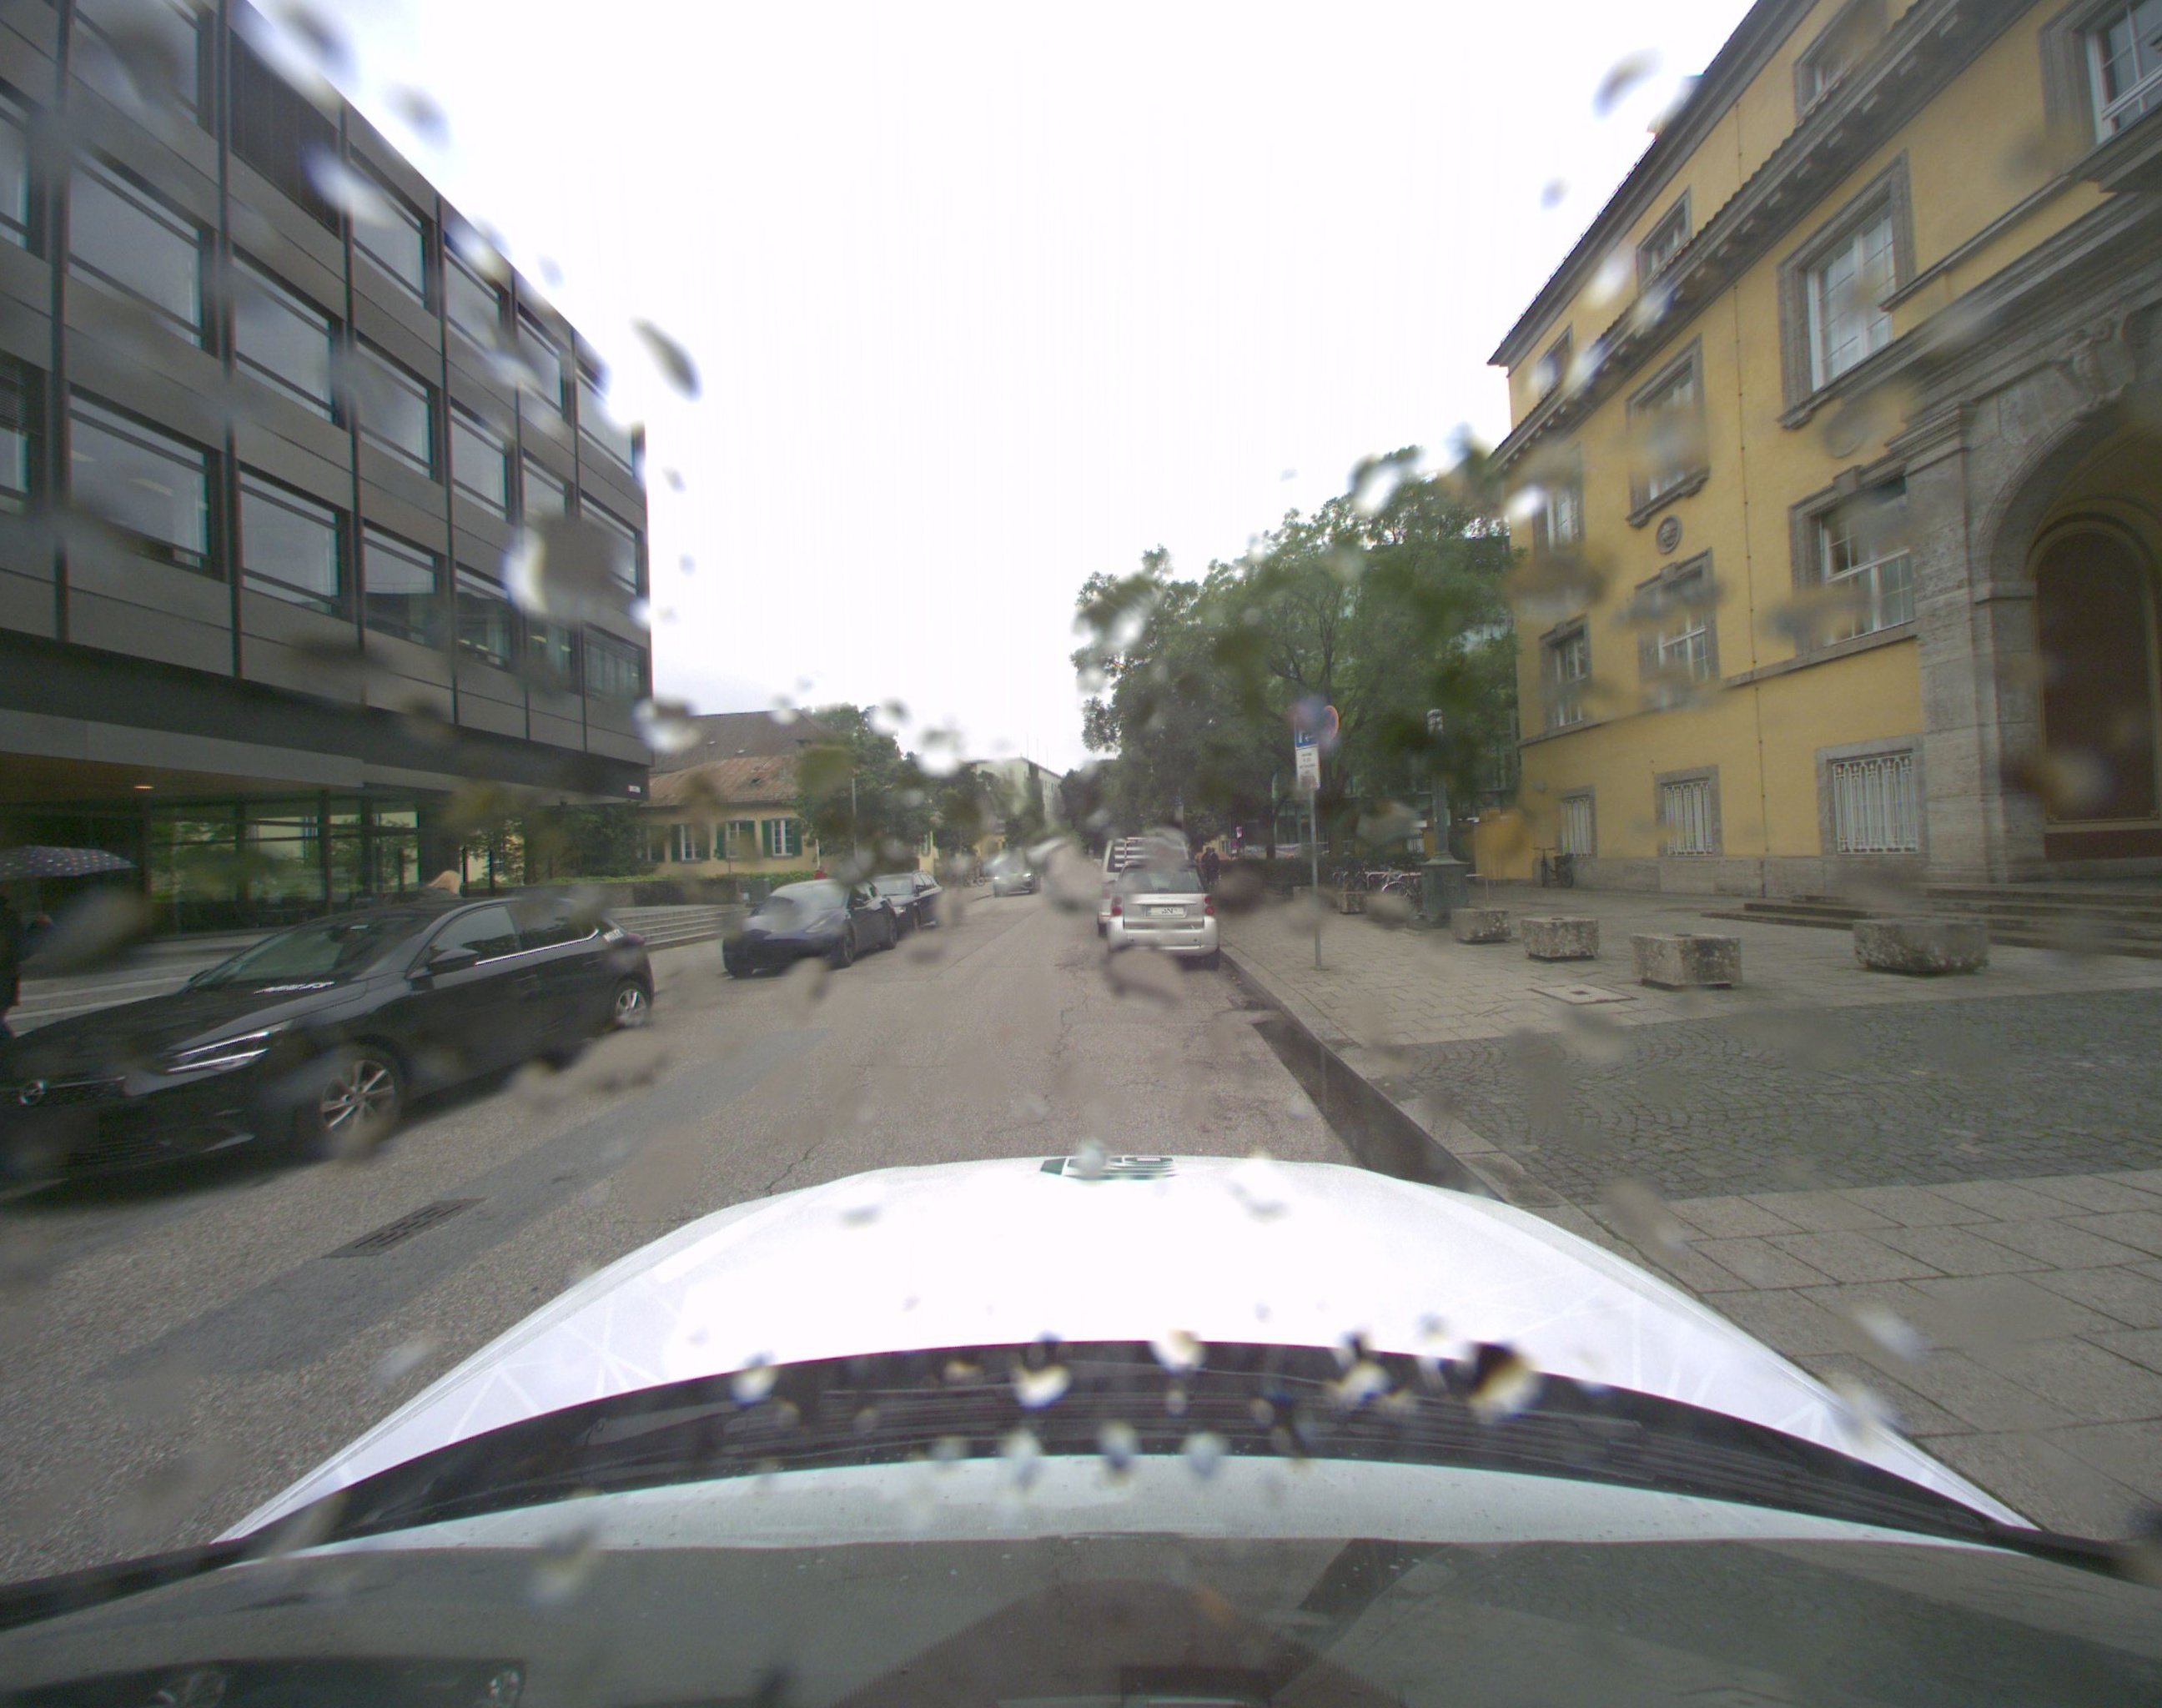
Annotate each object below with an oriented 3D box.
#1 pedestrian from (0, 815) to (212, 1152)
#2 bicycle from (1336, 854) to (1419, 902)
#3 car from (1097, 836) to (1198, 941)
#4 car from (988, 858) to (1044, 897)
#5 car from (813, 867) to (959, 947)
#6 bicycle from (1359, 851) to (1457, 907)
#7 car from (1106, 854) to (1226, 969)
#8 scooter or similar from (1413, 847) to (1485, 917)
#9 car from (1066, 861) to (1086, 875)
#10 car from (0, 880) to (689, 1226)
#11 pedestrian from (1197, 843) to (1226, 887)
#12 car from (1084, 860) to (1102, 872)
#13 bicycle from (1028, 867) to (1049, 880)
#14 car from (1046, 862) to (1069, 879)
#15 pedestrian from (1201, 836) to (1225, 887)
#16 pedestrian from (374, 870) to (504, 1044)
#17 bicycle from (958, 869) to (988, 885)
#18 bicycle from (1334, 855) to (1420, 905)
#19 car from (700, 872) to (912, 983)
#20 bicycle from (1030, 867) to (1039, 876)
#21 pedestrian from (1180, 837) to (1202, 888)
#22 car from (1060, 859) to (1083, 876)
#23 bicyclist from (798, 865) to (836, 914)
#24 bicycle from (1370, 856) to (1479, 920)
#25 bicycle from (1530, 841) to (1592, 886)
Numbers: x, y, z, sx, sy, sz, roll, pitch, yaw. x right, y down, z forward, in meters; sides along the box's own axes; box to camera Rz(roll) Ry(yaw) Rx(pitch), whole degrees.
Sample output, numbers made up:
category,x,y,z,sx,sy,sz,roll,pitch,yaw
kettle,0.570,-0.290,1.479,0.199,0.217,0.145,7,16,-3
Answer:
category,x,y,z,sx,sy,sz,roll,pitch,yaw
pedestrian,-7.164,0.806,5.558,1.131,2.055,1.221,-1,-1,1
bicycle,7.719,0.622,21.236,1.923,1.113,0.472,-4,-1,3
car,1.278,0.652,17.597,1.838,1.933,5.273,0,0,1
car,-3.120,1.088,40.080,2.016,1.689,4.681,-3,0,3
car,-4.471,1.152,19.562,1.985,1.491,4.887,-4,-1,3
bicycle,7.271,0.549,18.144,1.923,1.113,0.472,-4,-1,4
car,1.210,0.782,12.492,1.599,1.546,2.935,-1,0,2
scooter or similar,6.728,0.512,14.914,0.541,1.222,1.000,-3,-1,-43
car,-0.514,1.610,93.122,1.985,1.603,4.003,-2,-1,4
car,-4.940,1.044,6.004,1.732,1.461,4.240,-5,-1,3
pedestrian,5.807,0.480,36.231,0.735,1.907,1.062,-4,-1,37
car,1.618,1.676,110.926,1.983,1.486,4.007,-3,0,6
bicycle,-3.735,1.689,71.011,0.615,1.004,2.154,0,0,35
car,-2.154,1.502,75.482,1.725,1.581,3.793,0,0,5
pedestrian,5.673,0.324,35.024,0.740,2.135,1.056,-3,-1,1
pedestrian,-6.999,1.069,8.933,0.754,1.749,0.948,-2,-1,-14
bicycle,-7.443,1.598,56.217,1.921,1.099,0.615,-1,-1,5
bicycle,7.422,0.638,20.453,1.923,1.113,0.472,-4,-1,4
car,-4.506,1.119,14.297,1.916,1.439,4.918,-5,-1,0
bicycle,-4.991,1.870,87.298,0.618,1.004,1.622,-2,-2,8
pedestrian,4.774,0.369,35.371,0.740,2.135,1.056,-3,-1,1
car,-1.008,1.449,88.051,1.984,1.648,4.661,-3,-1,5
bicyclist,-8.570,1.150,26.430,1.096,1.498,0.668,-2,-2,-24
bicycle,6.820,0.666,16.202,1.926,1.113,0.471,-4,-1,-1
bicycle,13.134,0.249,22.341,0.540,1.154,1.902,-3,0,1
